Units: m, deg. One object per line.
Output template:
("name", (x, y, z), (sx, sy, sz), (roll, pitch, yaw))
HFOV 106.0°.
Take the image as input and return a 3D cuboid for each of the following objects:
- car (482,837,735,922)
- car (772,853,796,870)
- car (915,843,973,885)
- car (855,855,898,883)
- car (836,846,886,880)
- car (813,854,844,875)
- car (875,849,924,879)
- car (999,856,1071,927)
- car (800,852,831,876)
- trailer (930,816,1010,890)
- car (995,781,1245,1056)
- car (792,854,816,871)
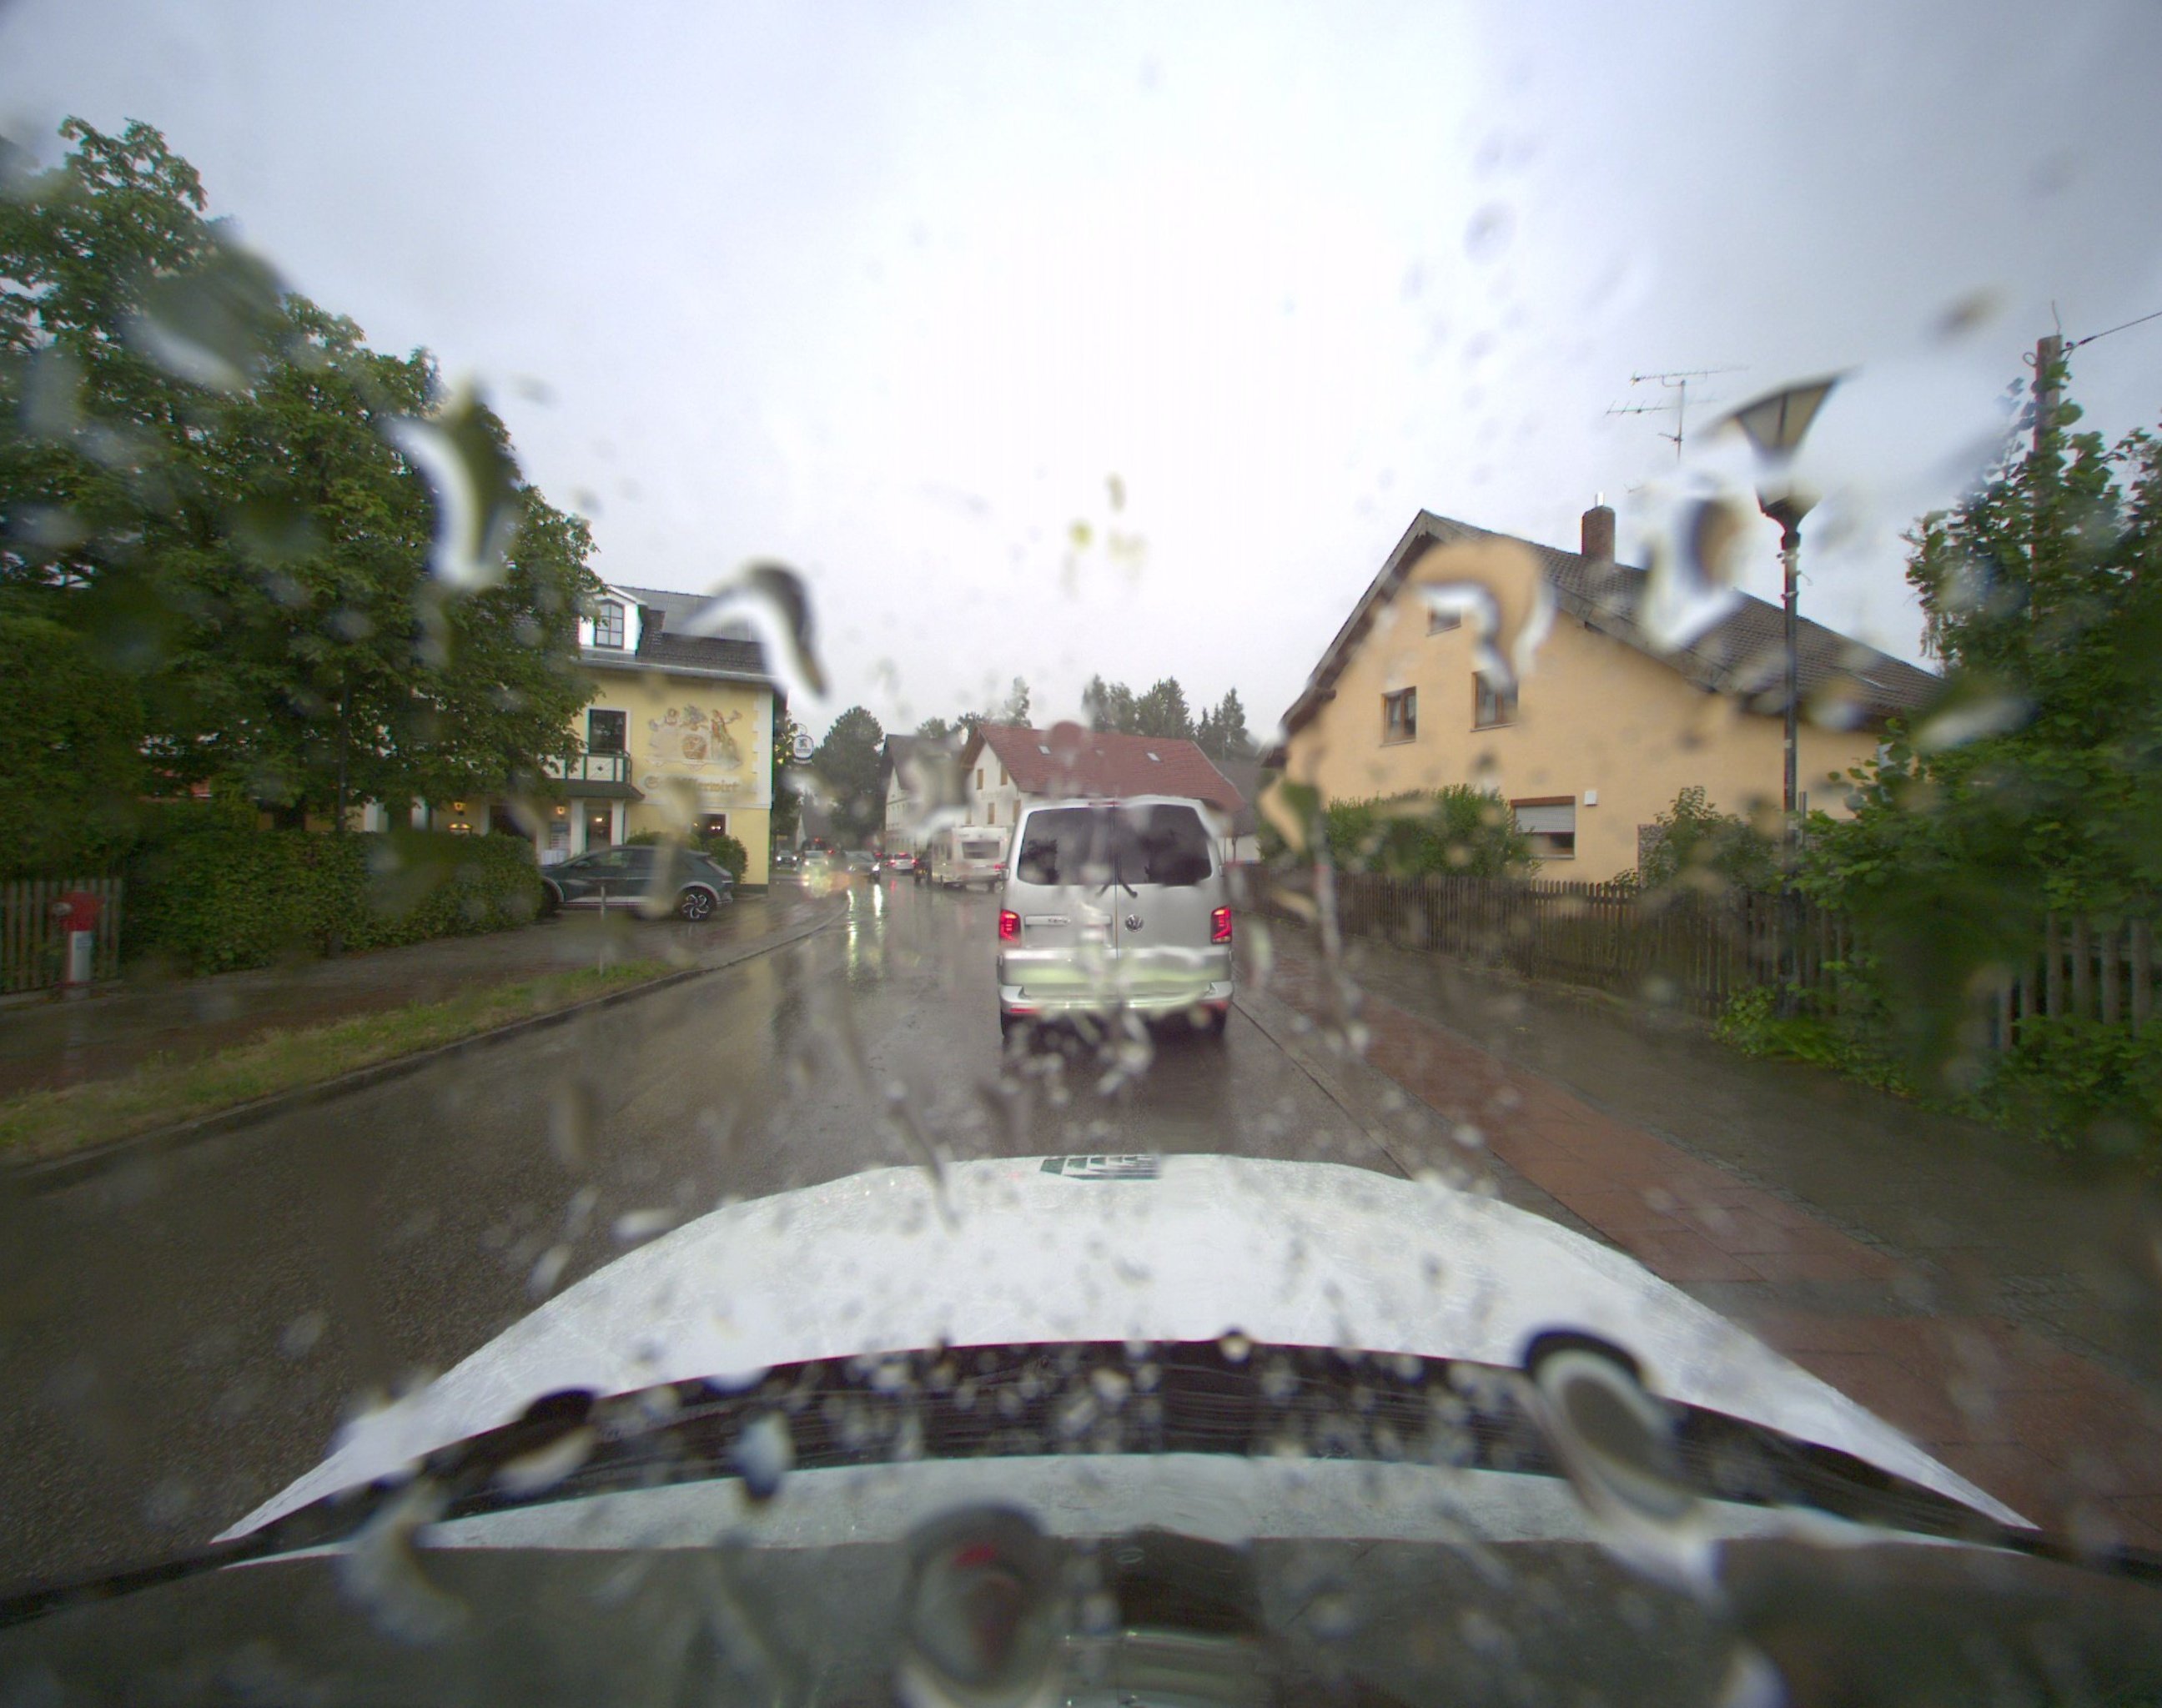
("car", (-10.122, 0.572, 17.857), (4.499, 1.567, 1.824), (4, 1, -27))
("car", (-28.981, 0.763, 79.489), (1.597, 1.610, 3.504), (-1, 0, -31))
("car", (-6.833, 0.464, 40.164), (2.060, 1.899, 5.143), (0, 0, -19))
("car", (-15.122, 1.079, 60.077), (2.179, 1.899, 4.974), (1, 0, -24))
("car", (-12.067, 0.476, 44.471), (1.932, 1.744, 4.157), (-1, 0, -25))
("car", (-24.536, 0.968, 79.041), (2.179, 1.899, 4.974), (1, 0, -24))
("car", (-12.167, 0.649, 54.386), (2.179, 1.899, 4.973), (1, -1, -24))
("car", (-1.286, 0.923, 22.287), (1.705, 1.584, 4.679), (-2, 1, -4))
("car", (-20.286, 0.773, 62.155), (1.762, 1.677, 3.966), (-1, 0, -25))
("trailer", (-4.866, -0.040, 34.905), (2.278, 2.904, 6.093), (0, 0, -19))
("car", (0.380, 0.472, 8.420), (1.769, 1.962, 5.077), (-1, 0, 2))
("car", (-33.805, 1.030, 99.284), (2.179, 1.899, 4.974), (1, 0, -24))
